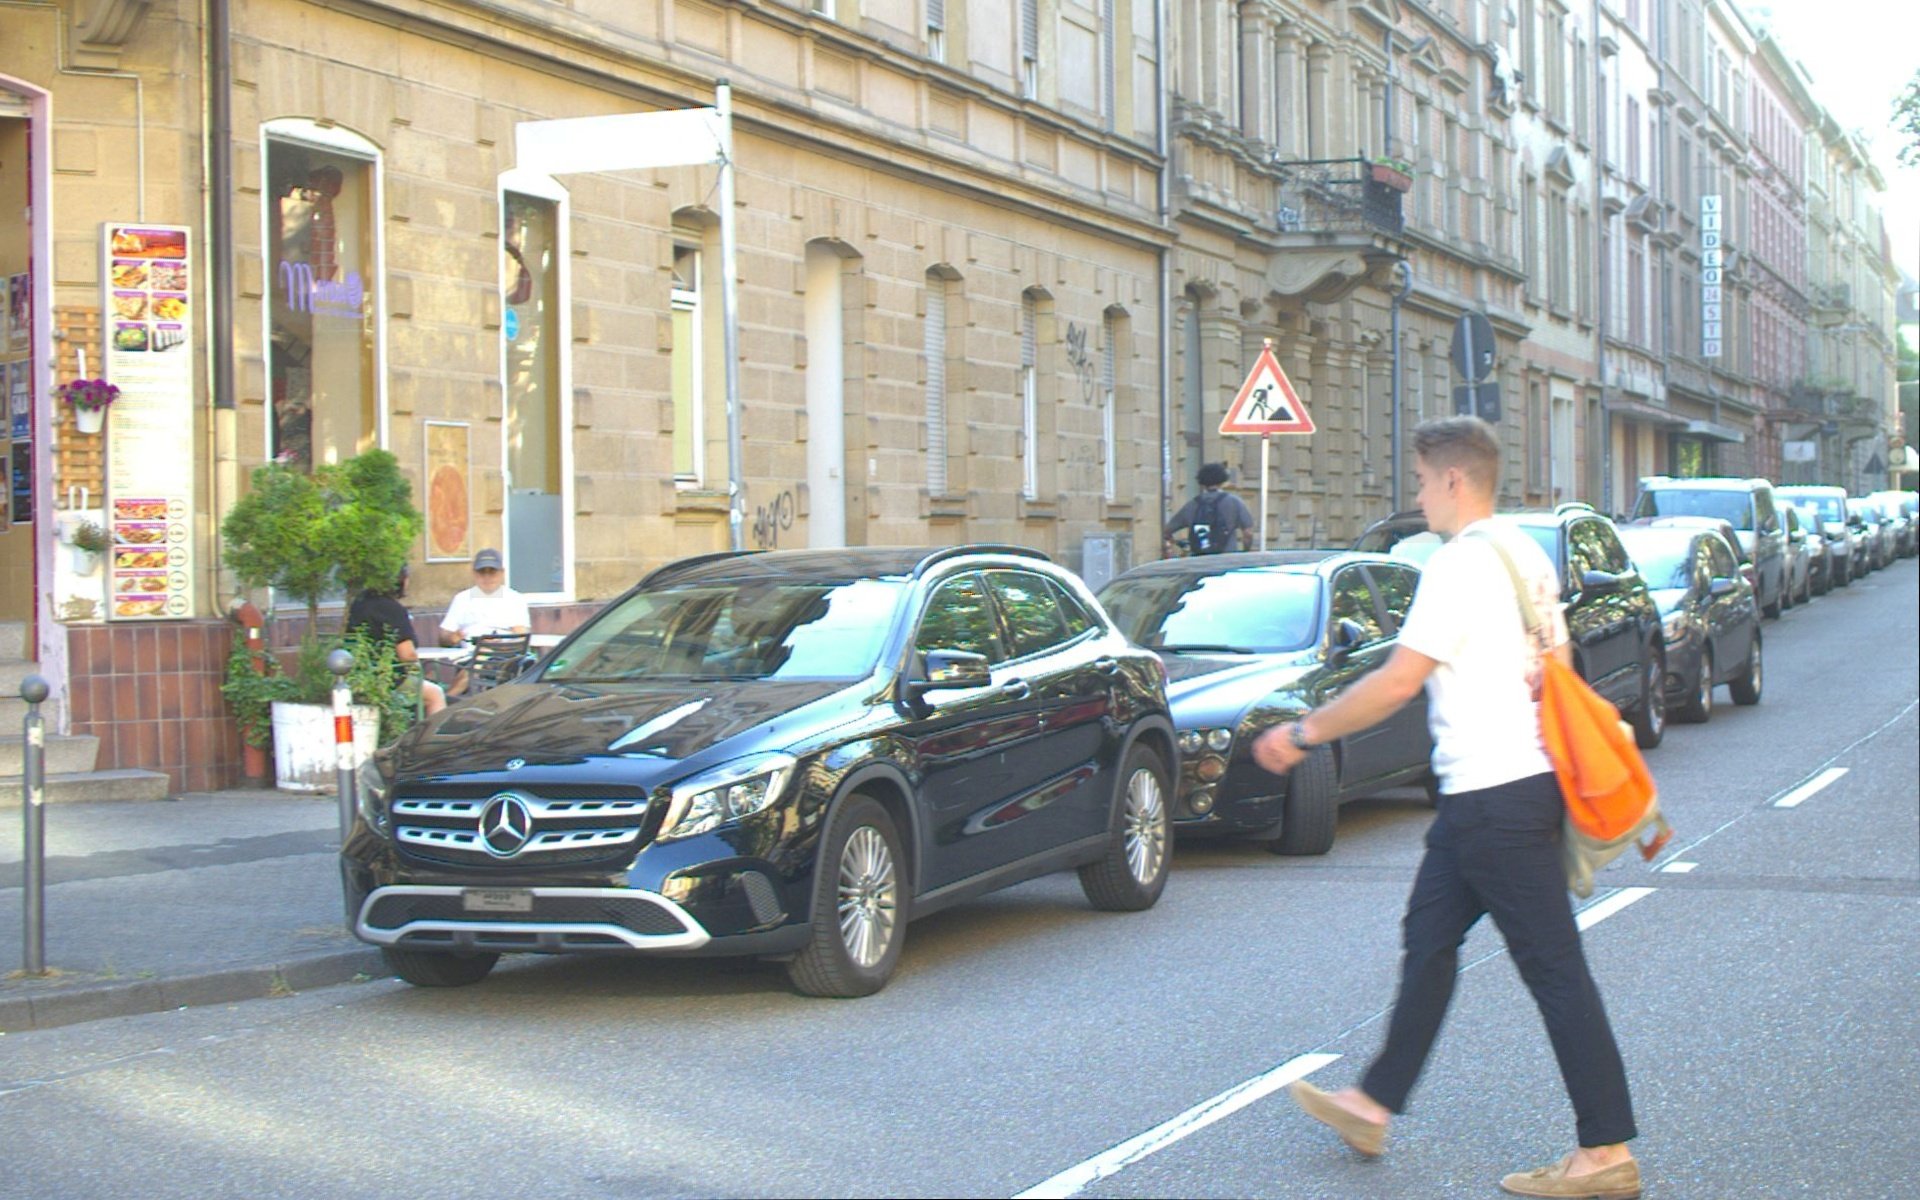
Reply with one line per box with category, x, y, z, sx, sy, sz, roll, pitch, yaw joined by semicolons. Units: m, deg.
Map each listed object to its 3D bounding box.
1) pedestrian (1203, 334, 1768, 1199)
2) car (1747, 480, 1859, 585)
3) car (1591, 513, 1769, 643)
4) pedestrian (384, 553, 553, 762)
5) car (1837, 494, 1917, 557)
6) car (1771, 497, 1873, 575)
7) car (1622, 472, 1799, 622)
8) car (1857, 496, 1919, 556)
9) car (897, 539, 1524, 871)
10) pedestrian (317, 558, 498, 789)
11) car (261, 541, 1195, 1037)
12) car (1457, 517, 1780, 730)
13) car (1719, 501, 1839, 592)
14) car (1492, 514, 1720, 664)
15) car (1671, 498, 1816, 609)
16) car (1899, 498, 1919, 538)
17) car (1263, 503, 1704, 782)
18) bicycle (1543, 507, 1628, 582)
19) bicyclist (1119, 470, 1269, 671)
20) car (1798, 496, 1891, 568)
pedestrian;1.210;0.385;7.784;1.115;1.892;0.842;-1;1;19
car;15.778;-1.288;64.203;1.760;1.835;4.526;-1;2;17
car;8.877;-0.306;42.224;1.594;1.470;3.696;1;2;20
pedestrian;-2.910;0.332;20.410;0.726;1.209;0.756;-1;1;16
car;22.729;-1.859;85.157;1.760;1.468;4.056;-1;2;17
car;17.291;-1.298;68.839;1.760;1.468;4.056;-1;2;17
car;10.434;-0.783;47.564;1.833;1.936;5.256;1;2;18
car;24.385;-1.942;89.629;1.760;1.468;4.056;-1;2;17
car;1.449;0.449;17.705;1.760;1.447;4.545;-1;1;24
pedestrian;-3.088;0.400;19.255;0.726;1.254;0.756;-1;1;16
car;-0.644;0.563;12.731;1.760;1.482;4.134;-1;1;23
car;5.299;0.137;27.270;1.760;1.496;4.055;-1;1;22
car;14.249;-0.955;59.682;1.760;1.462;3.997;1;2;17
car;7.189;-0.157;37.979;1.760;1.496;4.056;-1;1;21
car;12.172;-0.760;53.232;1.755;1.603;4.380;1;2;18
car;37.741;-3.134;130.629;3.988;1.481;1.999;-1;0;-39
car;3.526;0.206;22.405;1.760;1.594;4.545;-1;1;23
bicycle;11.520;-1.039;63.174;1.042;1.314;3.997;0;2;17
bicyclist;2.169;-0.278;31.683;0.997;1.783;1.206;-1;2;22
car;19.216;-1.497;74.621;1.760;1.468;4.056;-1;2;17
